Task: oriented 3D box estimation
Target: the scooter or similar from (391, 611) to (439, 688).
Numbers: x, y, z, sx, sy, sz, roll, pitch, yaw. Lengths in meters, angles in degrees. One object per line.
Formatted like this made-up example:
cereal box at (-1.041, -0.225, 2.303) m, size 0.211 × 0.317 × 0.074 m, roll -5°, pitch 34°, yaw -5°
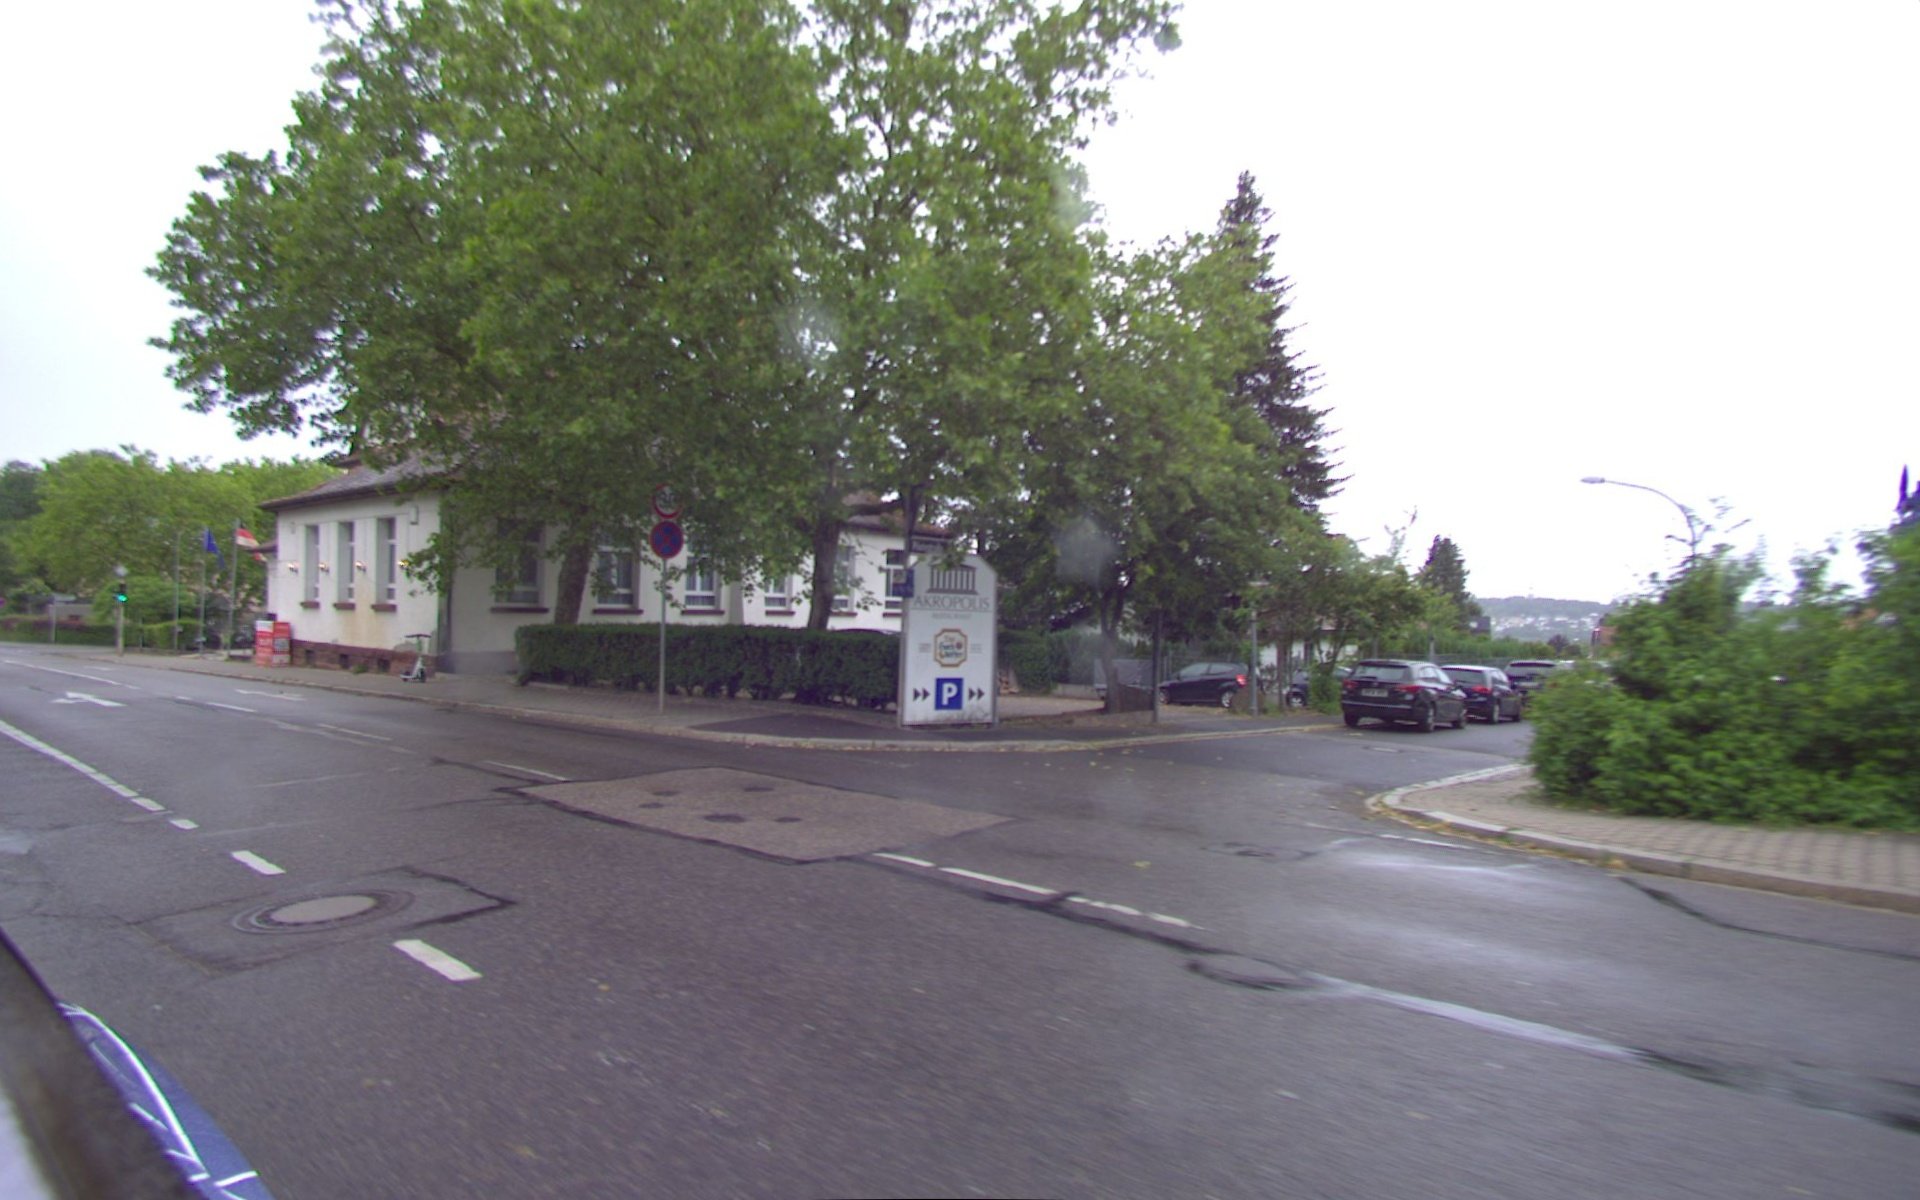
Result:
scooter or similar at (-13.116, 1.169, 24.344) m, size 1.510 × 1.788 × 0.397 m, roll 0°, pitch -1°, yaw 37°

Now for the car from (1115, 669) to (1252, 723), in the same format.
car at (7.411, 3.151, 33.692) m, size 3.995 × 1.597 × 1.974 m, roll -2°, pitch -4°, yaw 39°

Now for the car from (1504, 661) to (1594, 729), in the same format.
car at (17.873, 2.867, 30.629) m, size 1.736 × 1.878 × 3.946 m, roll -1°, pitch -5°, yaw 40°

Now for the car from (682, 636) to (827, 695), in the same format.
car at (-5.961, 1.864, 29.149) m, size 4.281 × 1.452 × 1.733 m, roll 0°, pitch -5°, yaw 40°

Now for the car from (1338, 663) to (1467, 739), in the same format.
car at (9.798, 2.151, 22.282) m, size 1.735 × 1.453 × 3.949 m, roll -1°, pitch -4°, yaw 37°

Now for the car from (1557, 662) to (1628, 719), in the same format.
car at (23.607, 3.347, 37.723) m, size 1.736 × 1.943 × 3.946 m, roll -1°, pitch -4°, yaw 40°

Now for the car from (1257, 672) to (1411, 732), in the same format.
car at (11.310, 3.029, 30.729) m, size 3.995 × 1.597 × 1.974 m, roll -2°, pitch -4°, yaw 39°

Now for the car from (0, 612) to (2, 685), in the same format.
car at (-9.803, 0.923, 8.416) m, size 4.140 × 1.608 × 1.975 m, roll -2°, pitch -3°, yaw 37°
